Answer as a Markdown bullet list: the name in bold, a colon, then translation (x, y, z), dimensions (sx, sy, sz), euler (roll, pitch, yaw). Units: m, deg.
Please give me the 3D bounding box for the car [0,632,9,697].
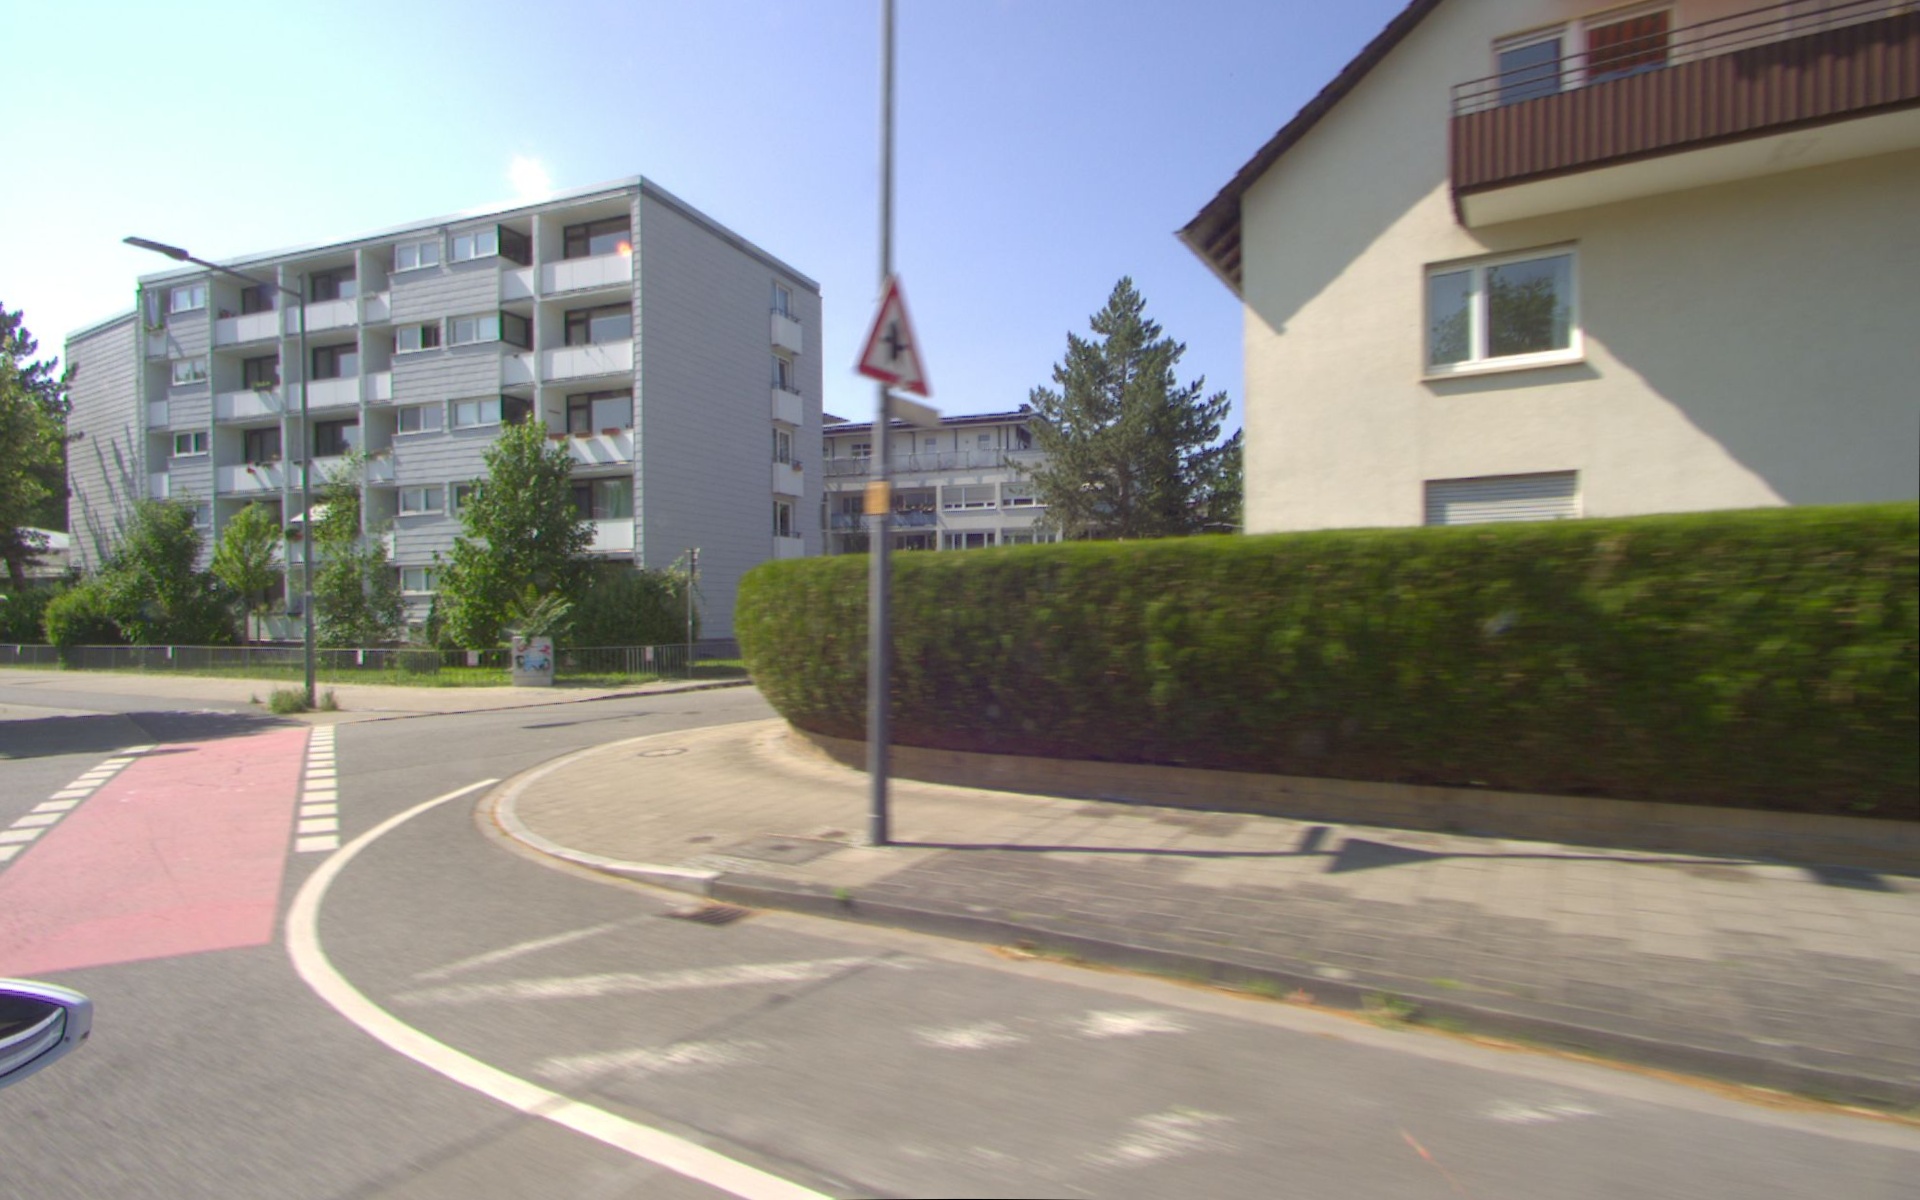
- **car**: translation (-19.490, 1.216, 17.517), dimensions (1.719, 1.252, 4.000), euler (0, -1, 6)
